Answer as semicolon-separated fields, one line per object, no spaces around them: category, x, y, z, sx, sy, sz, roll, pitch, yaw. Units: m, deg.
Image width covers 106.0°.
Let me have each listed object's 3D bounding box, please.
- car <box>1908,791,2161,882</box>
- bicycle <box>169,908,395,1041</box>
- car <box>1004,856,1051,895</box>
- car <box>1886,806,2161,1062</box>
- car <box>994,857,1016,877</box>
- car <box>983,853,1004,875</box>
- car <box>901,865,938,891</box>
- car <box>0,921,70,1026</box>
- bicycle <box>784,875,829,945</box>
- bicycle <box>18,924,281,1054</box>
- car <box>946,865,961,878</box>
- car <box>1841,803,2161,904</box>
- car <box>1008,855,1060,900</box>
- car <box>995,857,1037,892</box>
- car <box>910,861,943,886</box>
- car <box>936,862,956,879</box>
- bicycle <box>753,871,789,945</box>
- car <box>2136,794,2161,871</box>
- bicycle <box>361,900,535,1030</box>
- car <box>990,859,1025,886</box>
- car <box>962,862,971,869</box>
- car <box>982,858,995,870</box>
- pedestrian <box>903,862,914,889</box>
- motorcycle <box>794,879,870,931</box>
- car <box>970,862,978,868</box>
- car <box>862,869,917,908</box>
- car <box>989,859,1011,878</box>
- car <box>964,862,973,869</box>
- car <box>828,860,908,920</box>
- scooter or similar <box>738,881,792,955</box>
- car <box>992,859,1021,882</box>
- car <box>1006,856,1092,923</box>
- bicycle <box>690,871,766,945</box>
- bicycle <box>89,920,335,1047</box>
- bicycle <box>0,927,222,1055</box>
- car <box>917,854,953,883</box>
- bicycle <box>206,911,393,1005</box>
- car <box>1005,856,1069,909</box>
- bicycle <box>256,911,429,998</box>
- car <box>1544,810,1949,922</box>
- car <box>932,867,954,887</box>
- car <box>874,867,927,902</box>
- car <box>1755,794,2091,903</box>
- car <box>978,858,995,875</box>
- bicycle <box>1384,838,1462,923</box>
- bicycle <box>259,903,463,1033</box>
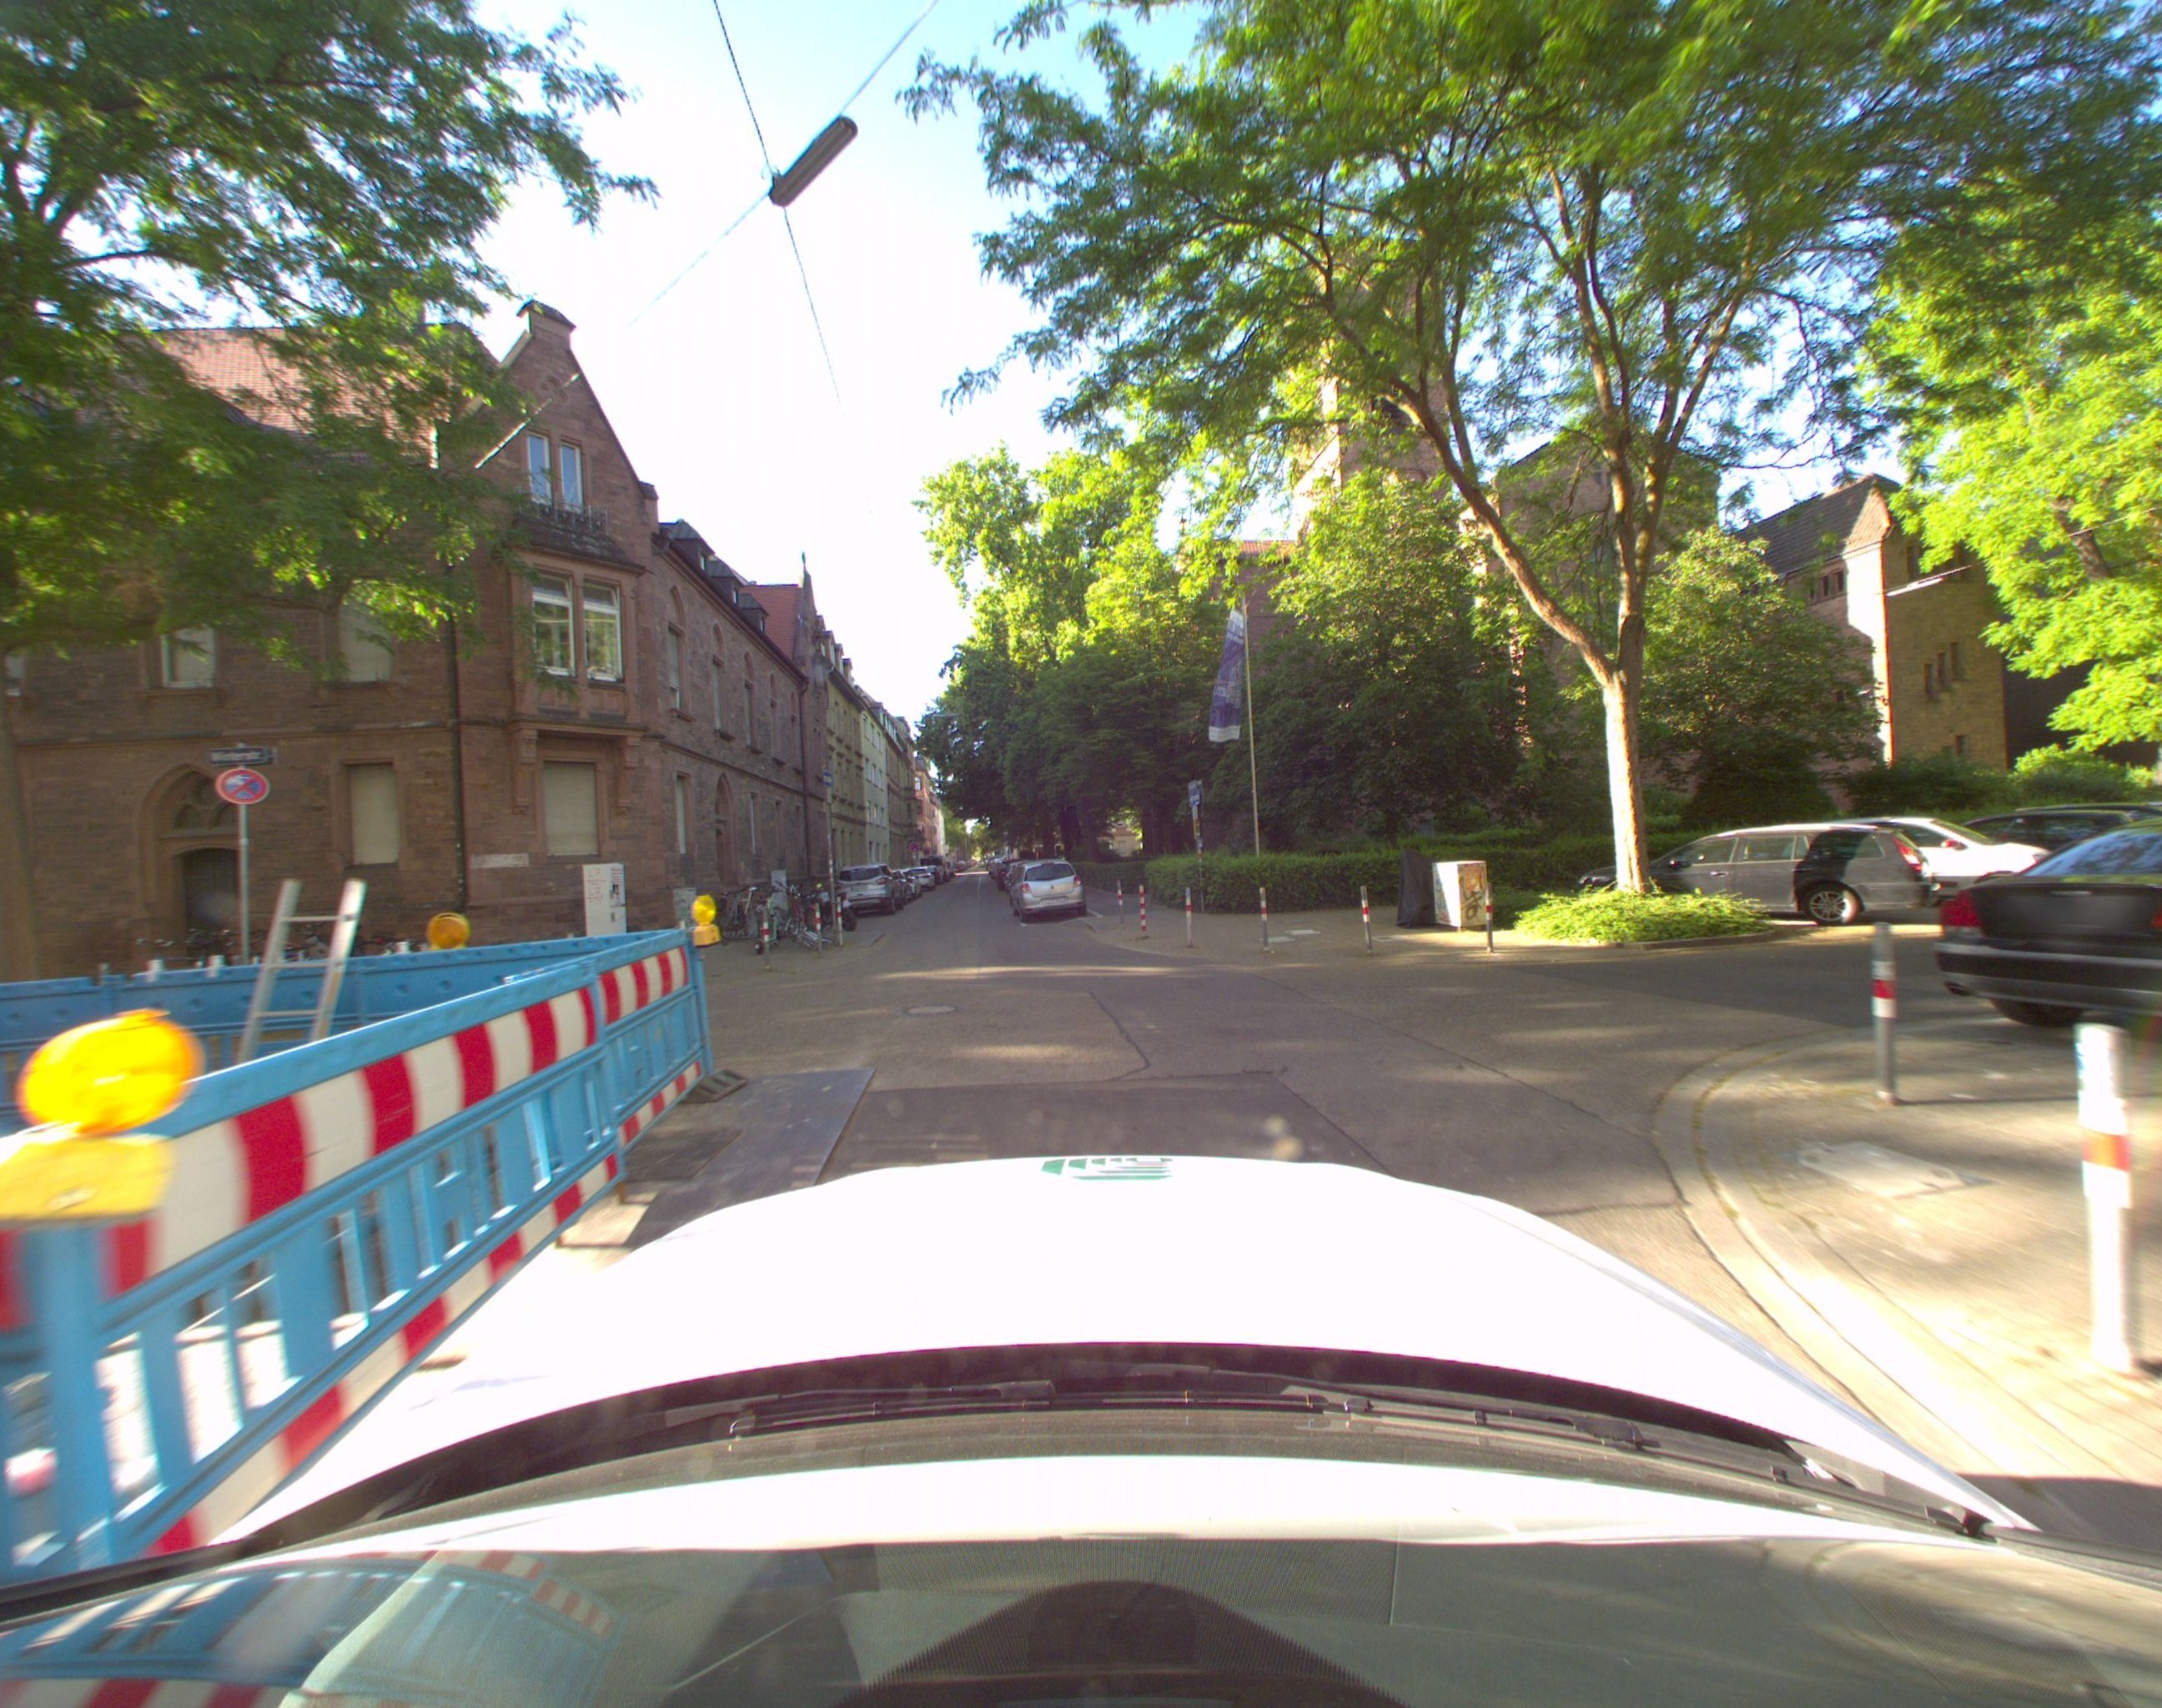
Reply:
car;19.466;-0.317;16.255;1.725;1.618;3.738;-3;0;-26
bicycle;-10.411;1.495;10.792;0.682;1.321;2.440;-3;1;-6
car;-2.561;0.970;38.028;1.840;1.596;3.989;-3;0;-8
car;8.005;0.332;5.181;4.346;1.388;1.844;-3;-1;-9
car;-7.247;1.196;77.361;1.828;1.703;3.989;-3;0;-8
car;-9.935;1.130;92.435;2.160;2.255;4.512;-3;-1;-8
car;-9.369;1.348;47.583;1.770;1.353;3.989;-3;0;-7
car;-16.730;1.843;11.394;1.867;1.483;4.228;-3;0;-31
bicycle;-5.879;1.142;17.385;0.685;1.345;2.483;-3;0;-22
bicycle;-11.853;1.647;10.538;0.682;1.180;2.440;-3;1;-5
car;-17.872;2.492;114.375;1.949;1.709;3.988;-3;-1;-9
car;17.164;0.024;15.351;1.725;1.618;3.738;-3;0;-26
car;-1.957;0.919;32.885;1.740;1.574;3.989;-3;-1;-8
car;-3.452;1.042;42.771;1.893;1.625;3.989;-3;-1;-8
car;-10.848;1.342;57.494;1.992;1.574;3.989;-3;-1;-8
car;-14.110;1.710;85.143;1.902;1.574;3.989;-3;-1;-8
bicycle;-6.658;1.110;17.428;0.575;1.423;2.483;-3;0;-22
car;23.040;-0.530;15.281;1.727;1.520;3.733;-3;0;-30
bicycle;-8.153;1.369;10.637;0.682;1.321;2.138;-3;1;-6
car;-4.794;1.173;52.527;1.992;1.574;3.989;-3;-1;-8
car;-28.304;2.896;202.011;1.992;1.647;3.990;-3;-1;-7
car;-14.728;1.532;129.539;1.992;1.728;3.990;-4;0;-7
pedestrian;-13.094;1.612;61.666;0.686;2.013;0.688;-3;-1;-15
motorcycle;-6.350;1.298;20.695;2.281;1.207;0.670;-4;-1;41
car;-30.615;3.184;232.799;1.992;1.647;3.990;-3;-1;-7
car;-7.808;1.370;33.499;1.724;1.393;3.990;-3;0;-7
car;-7.398;1.349;74.035;1.792;1.574;3.989;-3;-1;-8
car;-29.126;3.021;210.664;1.992;1.647;3.990;-3;-1;-7
car;-6.971;1.134;27.033;1.880;1.707;3.991;-5;0;-6
scooter or similar;-6.025;1.196;15.572;0.528;1.277;1.299;-3;0;-4
car;-5.784;1.236;62.760;1.992;1.574;3.989;-3;-1;-8
car;-0.945;0.871;21.775;1.724;1.522;3.987;-4;0;-10
bicycle;-7.670;1.113;17.845;0.682;1.423;2.791;-3;0;-7
bicycle;-11.152;1.590;10.630;0.682;1.180;2.440;-3;1;-5
bicycle;-12.578;1.678;10.419;0.682;1.180;2.440;-3;1;-5
car;-11.537;1.129;64.722;2.306;2.114;5.158;-3;-1;-6
bicycle;-11.784;1.551;12.340;1.960;1.180;0.683;-3;1;-7
car;-1.547;0.906;27.262;1.722;1.522;3.989;-3;-1;-8
bicycle;-11.843;1.595;13.114;1.960;1.180;0.684;-3;1;-6
car;10.998;0.255;13.873;1.813;1.552;5.042;-3;-1;-40
car;-13.167;2.165;77.816;1.792;1.573;3.990;-3;3;-8
car;-8.343;1.380;37.971;1.880;1.410;3.991;-5;0;-6
car;14.657;-0.059;14.434;1.725;1.618;3.738;-3;0;-26
car;-9.707;1.250;83.632;1.688;1.728;3.989;-1;0;-8
bicycle;6.203;0.440;14.688;0.767;1.371;2.138;-4;0;36
bicycle;-9.524;1.435;10.958;0.682;1.321;2.440;-3;1;-6
